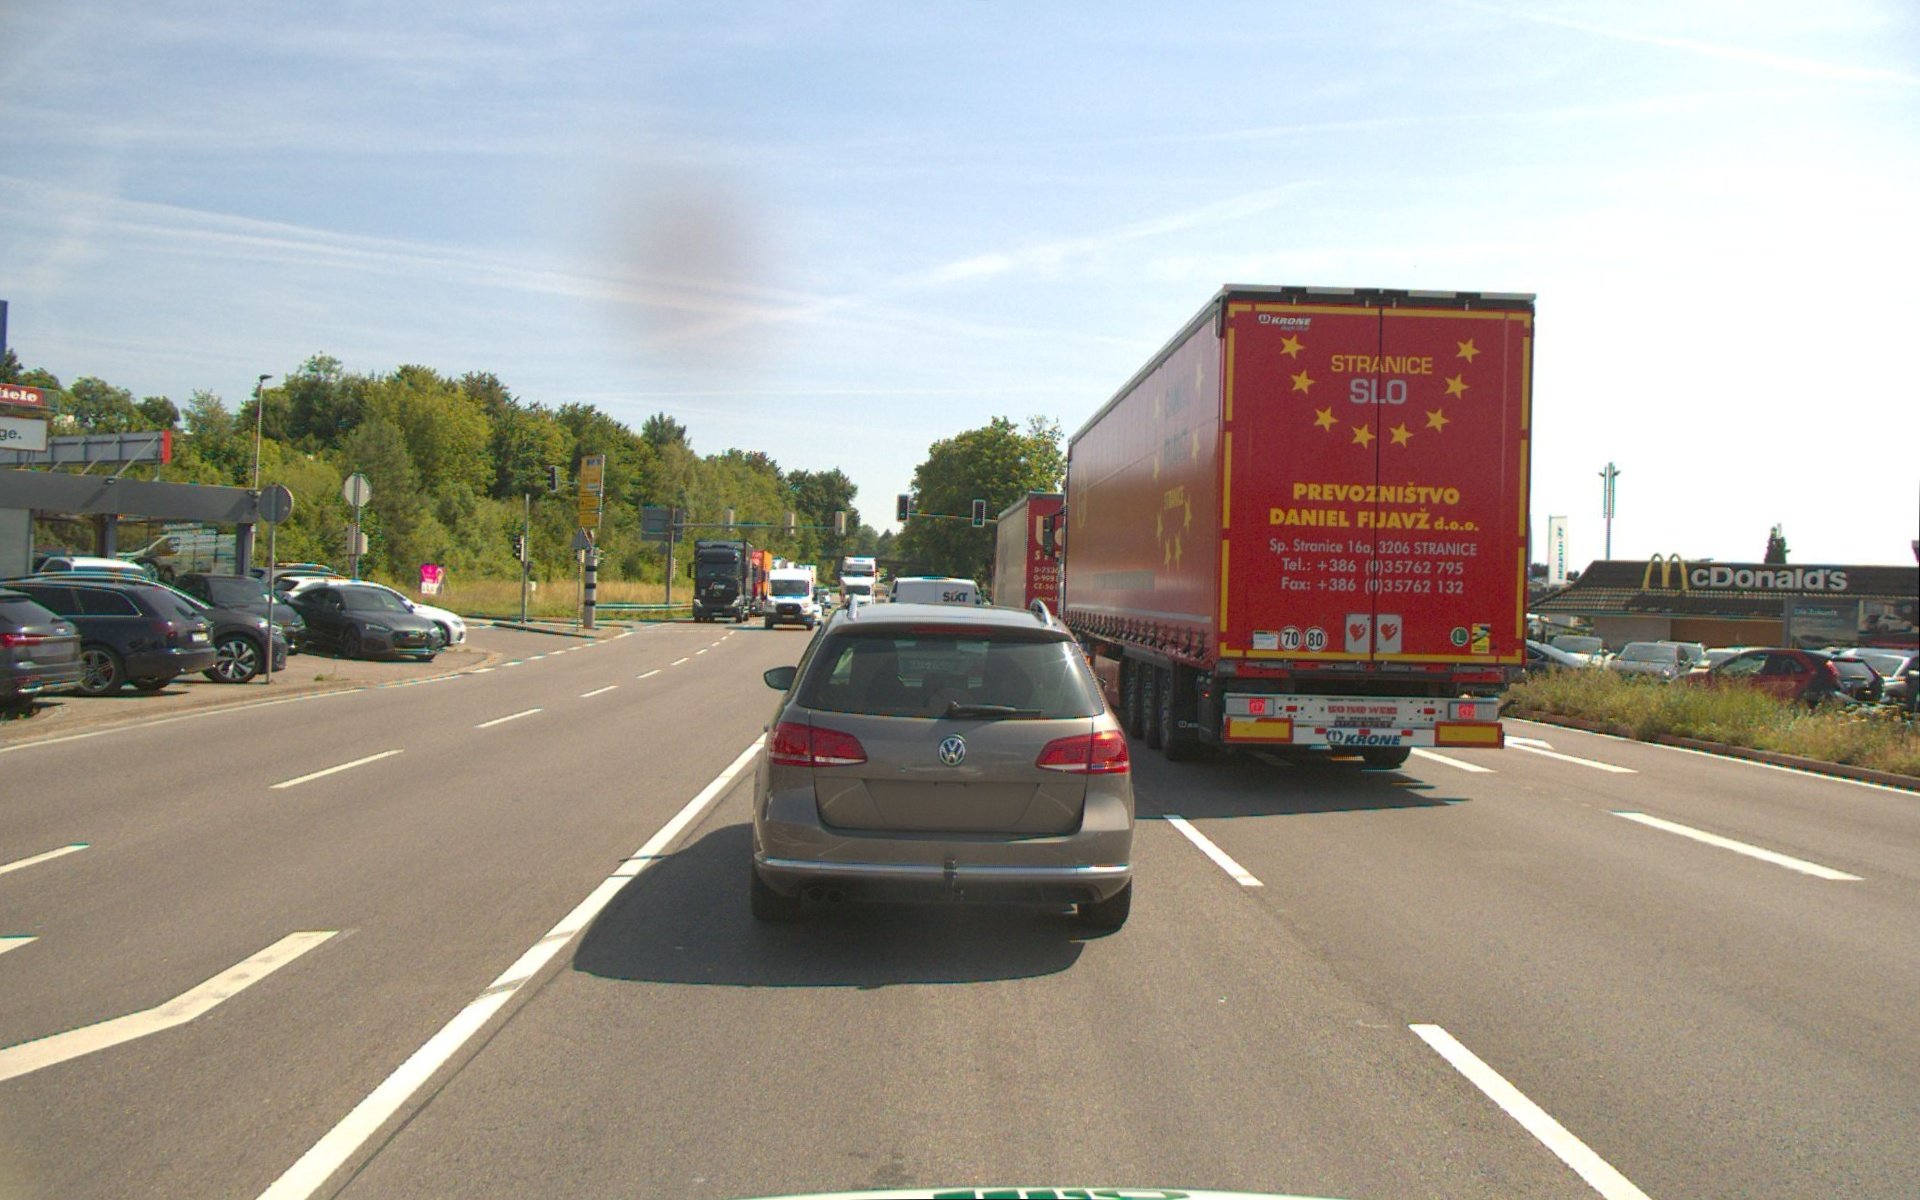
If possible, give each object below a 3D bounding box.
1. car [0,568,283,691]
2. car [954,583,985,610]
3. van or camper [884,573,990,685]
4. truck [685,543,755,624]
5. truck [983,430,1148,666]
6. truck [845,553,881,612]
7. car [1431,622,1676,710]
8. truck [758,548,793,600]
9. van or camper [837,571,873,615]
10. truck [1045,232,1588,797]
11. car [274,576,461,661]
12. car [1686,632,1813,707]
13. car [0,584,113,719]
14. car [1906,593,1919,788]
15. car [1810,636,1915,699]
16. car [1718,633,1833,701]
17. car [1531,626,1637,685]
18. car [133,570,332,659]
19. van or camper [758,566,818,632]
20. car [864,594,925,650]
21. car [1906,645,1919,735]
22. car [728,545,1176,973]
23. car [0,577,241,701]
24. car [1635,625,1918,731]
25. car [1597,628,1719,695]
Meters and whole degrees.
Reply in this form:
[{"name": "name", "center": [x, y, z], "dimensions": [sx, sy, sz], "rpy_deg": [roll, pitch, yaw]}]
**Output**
[{"name": "car", "center": [-12.176, 0.411, 24.219], "dimensions": [3.740, 1.704, 1.842], "rpy_deg": [1, 0, -3]}, {"name": "car", "center": [0.543, -0.187, 98.345], "dimensions": [1.692, 1.545, 3.311], "rpy_deg": [2, -1, -2]}, {"name": "van or camper", "center": [-0.470, 0.502, 31.126], "dimensions": [1.815, 1.939, 3.783], "rpy_deg": [1, 0, -2]}, {"name": "truck", "center": [-11.901, -0.827, 82.613], "dimensions": [2.756, 3.852, 6.986], "rpy_deg": [0, 0, -3]}, {"name": "truck", "center": [2.526, -1.221, 46.343], "dimensions": [3.000, 5.312, 17.001], "rpy_deg": [1, 0, -2]}, {"name": "truck", "center": [-7.440, -1.306, 127.200], "dimensions": [2.501, 4.383, 7.593], "rpy_deg": [0, 0, -2]}, {"name": "car", "center": [11.542, 1.235, 32.285], "dimensions": [4.125, 1.480, 1.836], "rpy_deg": [2, 0, 41]}, {"name": "truck", "center": [-14.082, -1.943, 126.648], "dimensions": [2.484, 3.852, 6.982], "rpy_deg": [0, 0, -5]}, {"name": "van or camper", "center": [-7.112, -0.442, 112.505], "dimensions": [2.179, 2.890, 5.708], "rpy_deg": [1, -1, -2]}, {"name": "truck", "center": [3.223, -0.690, 21.213], "dimensions": [2.897, 4.344, 16.579], "rpy_deg": [1, 0, -2]}, {"name": "car", "center": [-12.788, 0.359, 35.570], "dimensions": [2.116, 1.723, 4.453], "rpy_deg": [1, 0, -45]}, {"name": "car", "center": [17.994, 1.538, 37.642], "dimensions": [1.657, 1.558, 3.575], "rpy_deg": [2, 0, 42]}, {"name": "car", "center": [-12.213, 0.554, 19.247], "dimensions": [3.740, 1.473, 1.842], "rpy_deg": [1, 1, -3]}, {"name": "car", "center": [11.656, 0.958, 16.847], "dimensions": [3.787, 1.954, 1.688], "rpy_deg": [1, 0, -27]}, {"name": "car", "center": [24.041, 1.758, 44.014], "dimensions": [1.657, 1.558, 3.575], "rpy_deg": [2, 0, 42]}, {"name": "car", "center": [20.361, 1.639, 41.239], "dimensions": [1.657, 1.558, 3.575], "rpy_deg": [2, 0, 42]}, {"name": "car", "center": [17.684, 1.550, 46.821], "dimensions": [1.734, 1.558, 3.246], "rpy_deg": [2, 0, 42]}, {"name": "car", "center": [-14.961, 0.272, 34.007], "dimensions": [3.743, 1.723, 1.840], "rpy_deg": [1, 0, 28]}, {"name": "van or camper", "center": [-7.079, -0.053, 68.628], "dimensions": [2.129, 2.596, 4.169], "rpy_deg": [1, 0, -2]}, {"name": "car", "center": [-1.916, 0.650, 48.587], "dimensions": [1.692, 1.545, 3.310], "rpy_deg": [1, -1, -3]}, {"name": "car", "center": [18.557, 1.622, 29.656], "dimensions": [1.965, 1.558, 3.976], "rpy_deg": [2, 0, 42]}, {"name": "car", "center": [0.021, 0.627, 8.258], "dimensions": [1.753, 1.667, 3.504], "rpy_deg": [0, 0, 2]}, {"name": "car", "center": [-11.877, 0.496, 22.066], "dimensions": [3.740, 1.566, 1.842], "rpy_deg": [1, 0, -3]}, {"name": "car", "center": [13.971, 1.294, 28.504], "dimensions": [1.972, 1.558, 3.960], "rpy_deg": [2, 0, -30]}, {"name": "car", "center": [17.664, 1.516, 41.785], "dimensions": [1.738, 1.558, 3.608], "rpy_deg": [2, 0, 42]}]
